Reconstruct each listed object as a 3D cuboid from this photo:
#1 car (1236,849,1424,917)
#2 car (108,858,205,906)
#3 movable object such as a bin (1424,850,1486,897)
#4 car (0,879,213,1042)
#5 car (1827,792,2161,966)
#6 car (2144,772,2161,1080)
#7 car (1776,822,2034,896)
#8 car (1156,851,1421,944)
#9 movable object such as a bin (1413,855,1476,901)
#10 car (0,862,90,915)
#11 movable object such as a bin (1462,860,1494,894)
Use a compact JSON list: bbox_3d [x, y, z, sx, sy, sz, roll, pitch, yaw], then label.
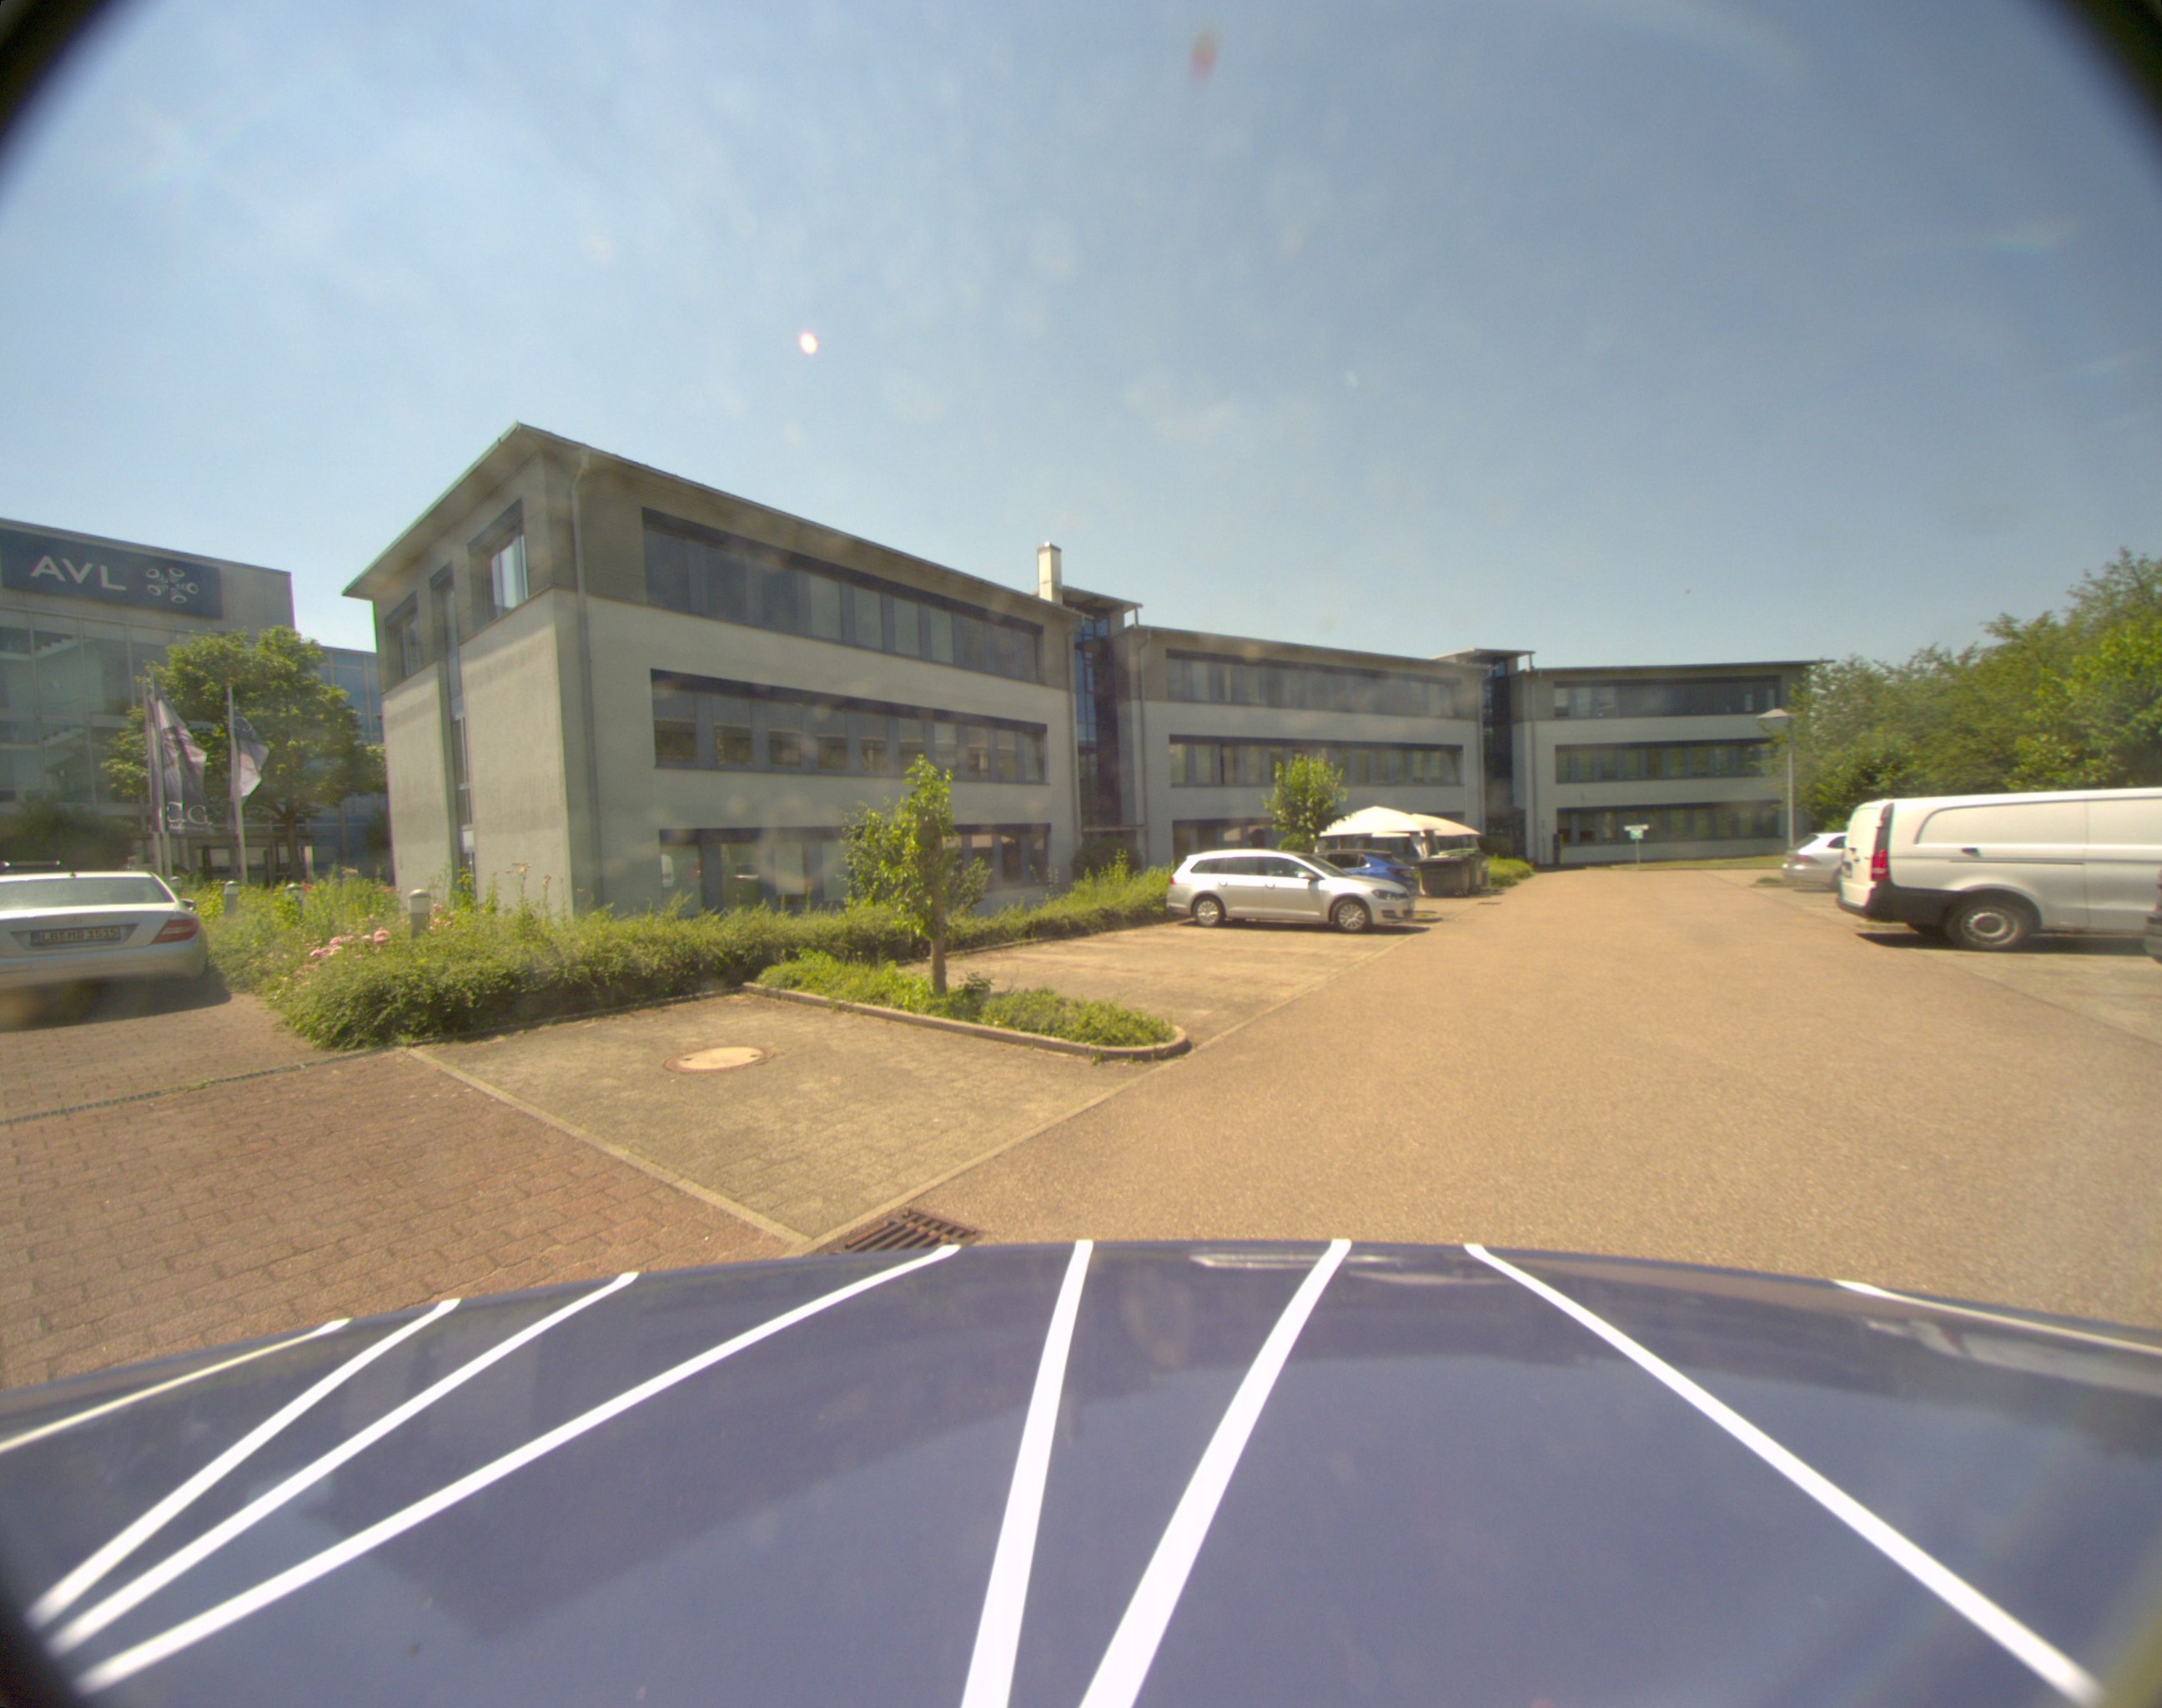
[{"bbox_3d":[5.713,0.592,17.555,3.816,1.384,1.655,0,2,34],"label":"car"},{"bbox_3d":[-32.453,0.966,26.650,3.989,1.510,1.753,-1,1,34],"label":"car"},{"bbox_3d":[10.760,0.550,21.874,1.361,1.288,1.045,-1,1,39],"label":"movable object such as a bin"},{"bbox_3d":[-11.232,1.041,8.387,3.706,1.428,1.733,-1,1,35],"label":"car"},{"bbox_3d":[12.131,0.248,8.932,4.508,1.871,1.832,-2,1,33],"label":"car"},{"bbox_3d":[8.202,0.414,2.746,4.722,1.895,1.833,-2,1,33],"label":"car"},{"bbox_3d":[18.851,0.125,17.648,3.755,1.549,1.664,-2,1,33],"label":"car"},{"bbox_3d":[3.880,0.715,14.466,4.508,1.489,1.832,0,2,33],"label":"car"},{"bbox_3d":[10.081,0.651,21.075,1.361,1.183,0.999,-1,1,39],"label":"movable object such as a bin"},{"bbox_3d":[-33.616,1.092,24.484,3.989,1.510,1.753,-1,1,34],"label":"car"},{"bbox_3d":[11.691,0.663,22.382,0.689,0.944,0.723,-1,1,39],"label":"movable object such as a bin"}]
